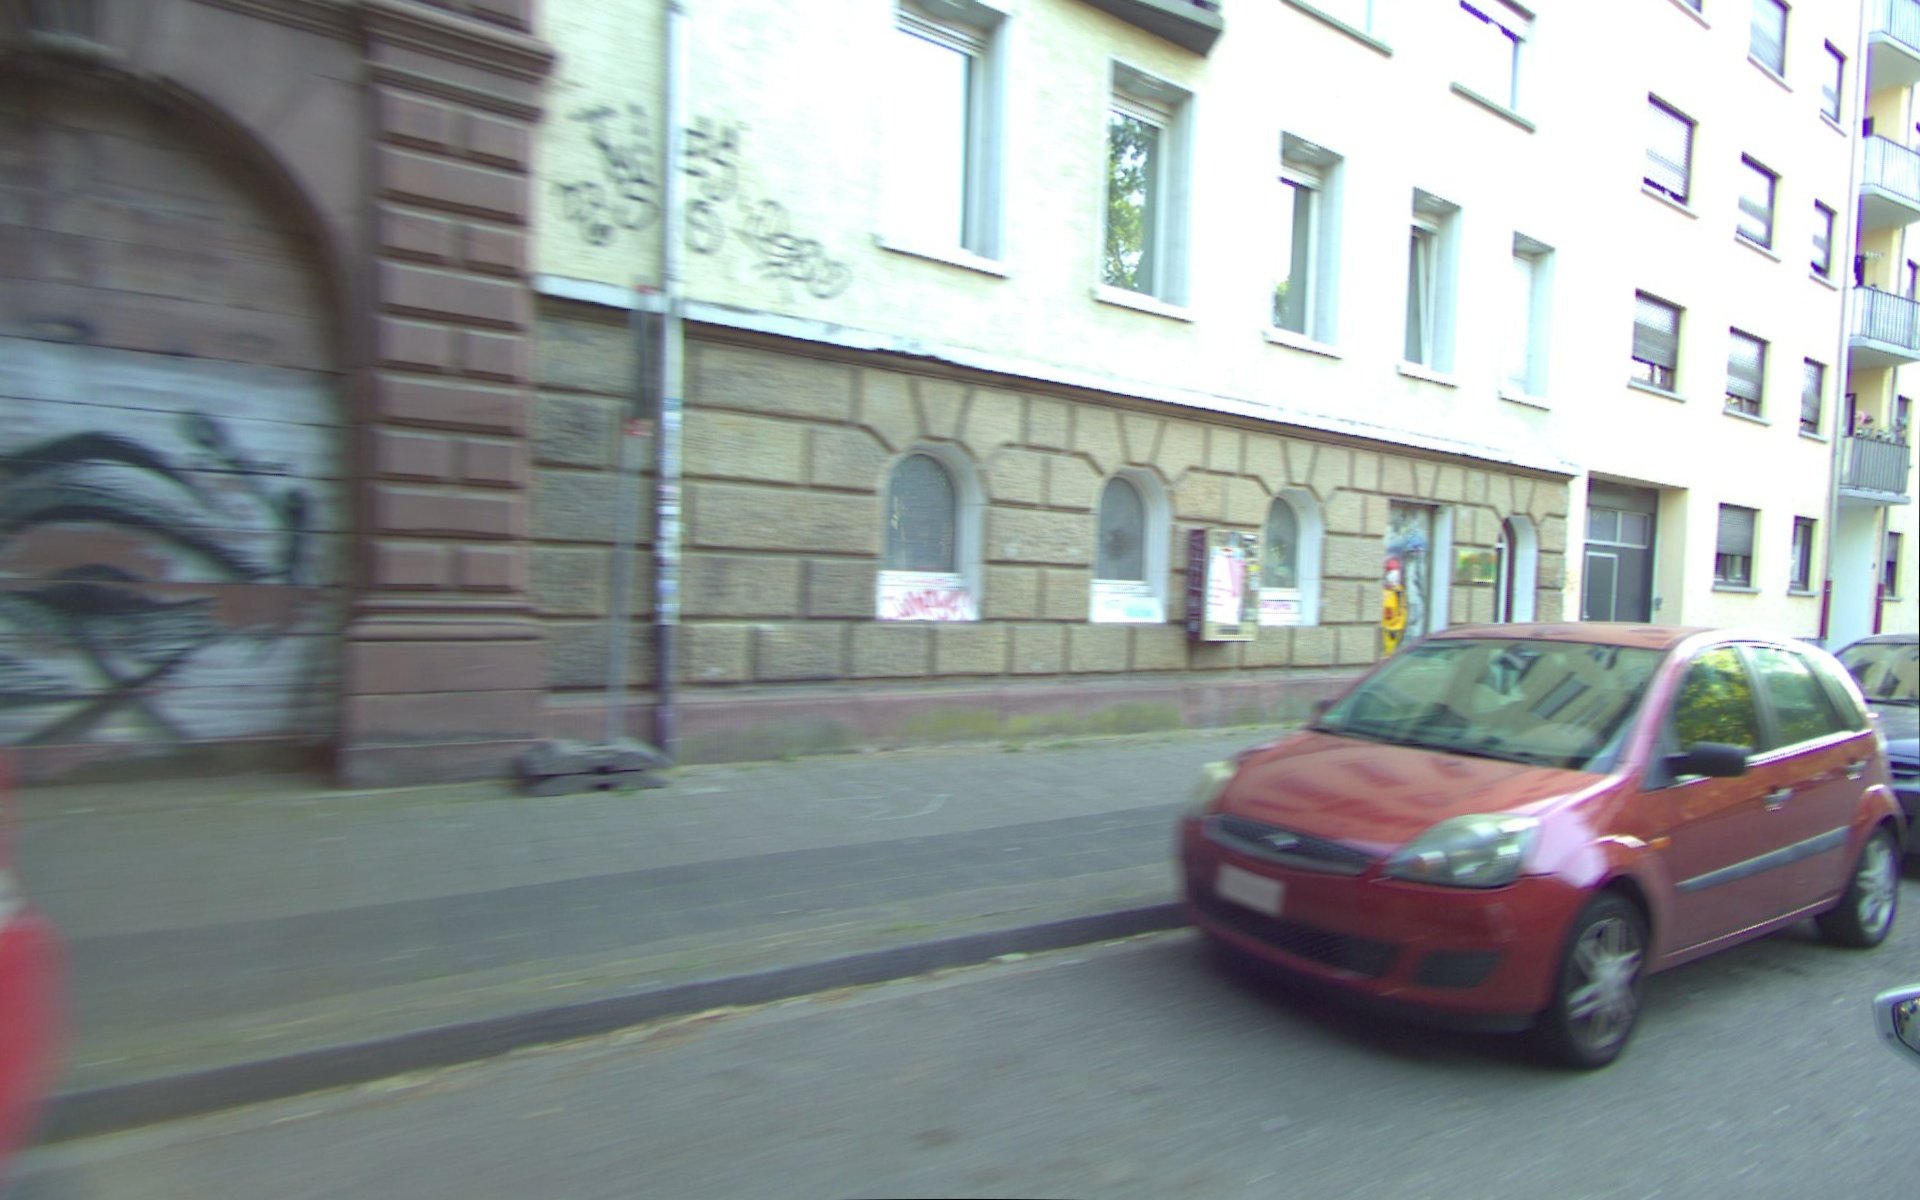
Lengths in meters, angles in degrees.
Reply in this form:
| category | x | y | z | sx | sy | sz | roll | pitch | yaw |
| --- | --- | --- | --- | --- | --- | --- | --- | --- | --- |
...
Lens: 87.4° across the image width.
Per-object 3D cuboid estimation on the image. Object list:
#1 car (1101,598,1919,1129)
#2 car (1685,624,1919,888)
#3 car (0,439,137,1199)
| category | x | y | z | sx | sy | sz | roll | pitch | yaw |
| --- | --- | --- | --- | --- | --- | --- | --- | --- | --- |
| car | 2.742 | 0.803 | 4.605 | 3.955 | 1.460 | 1.680 | 2 | 1 | -31 |
| car | 6.945 | 0.940 | 7.030 | 3.954 | 1.486 | 1.628 | 2 | -1 | -31 |
| car | -3.517 | 0.552 | 0.749 | 4.277 | 1.731 | 1.706 | 2 | 0 | -33 |
